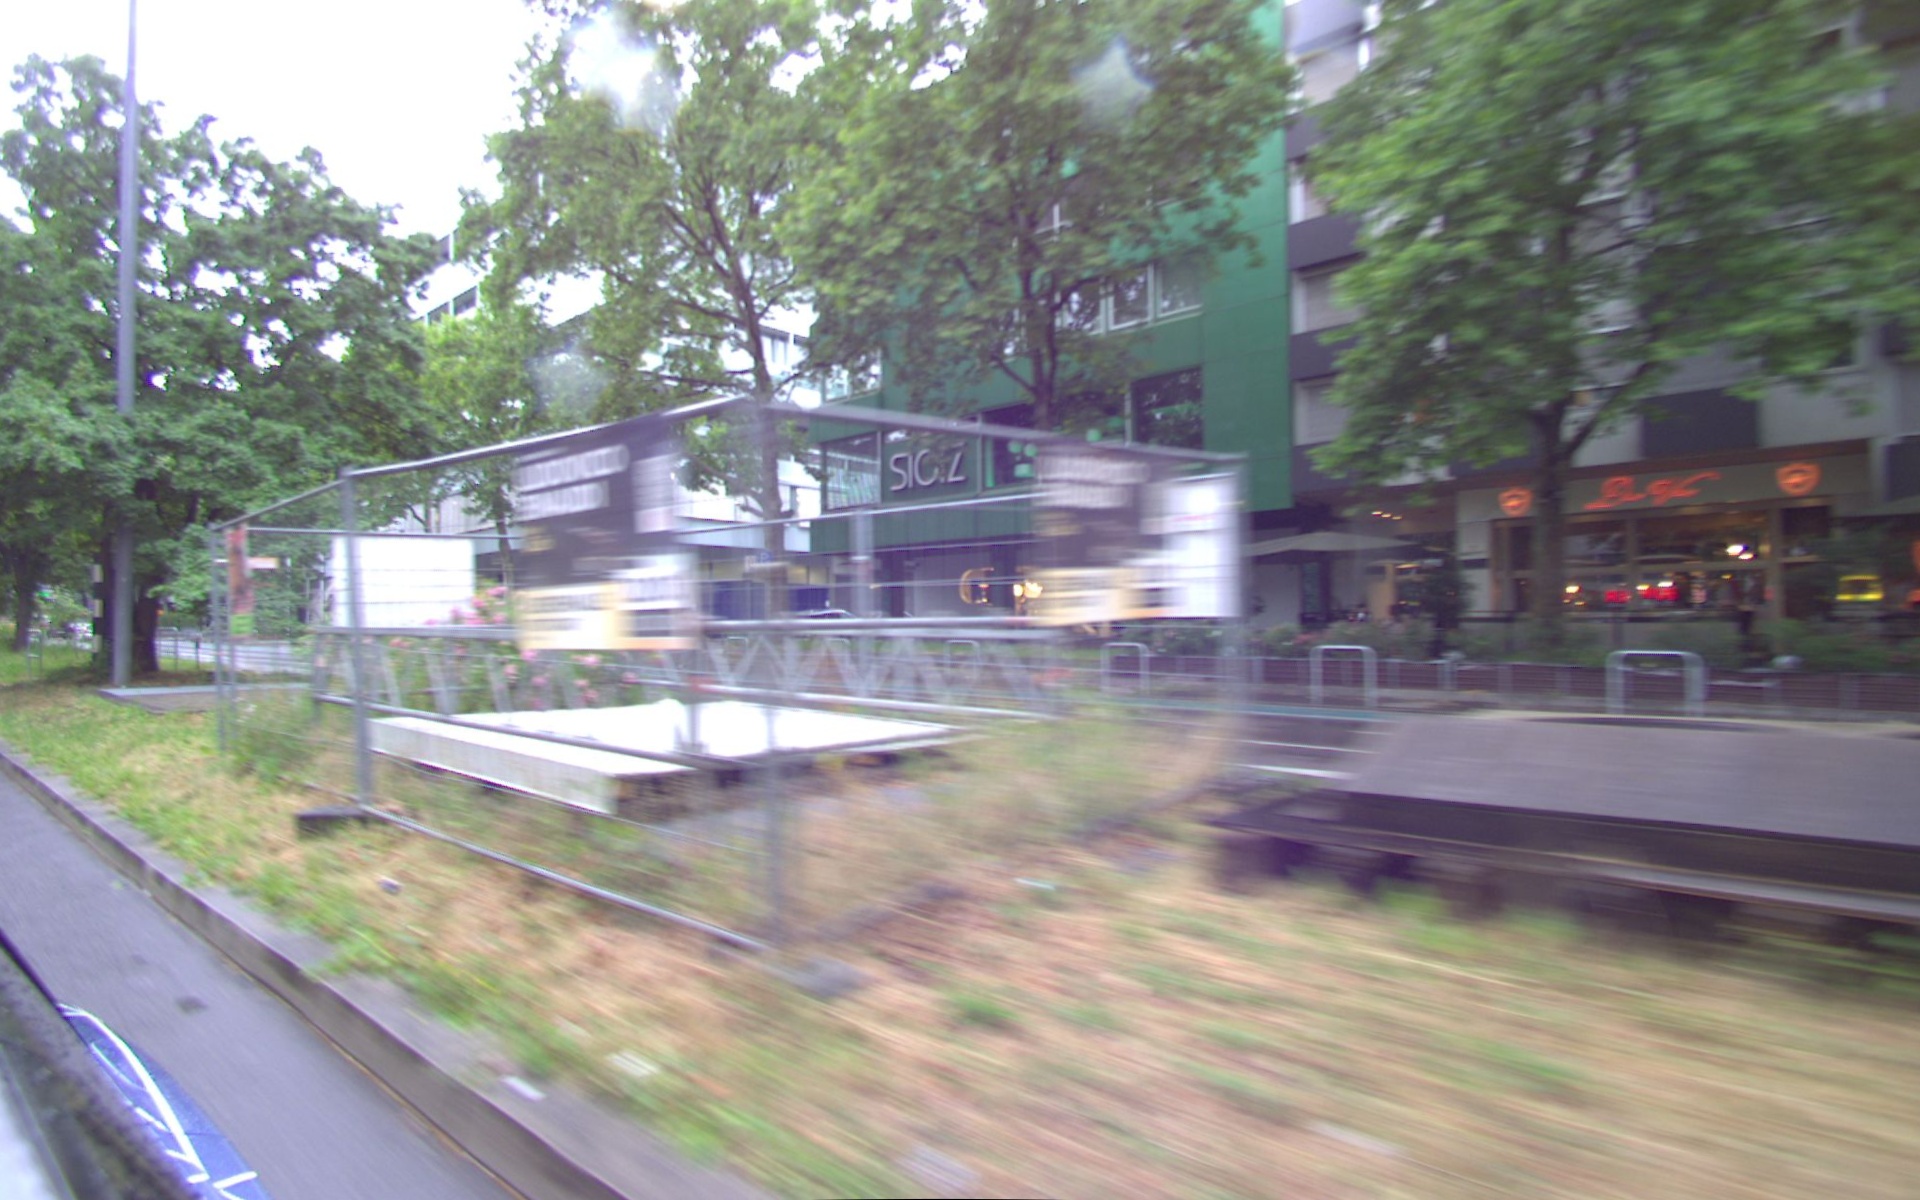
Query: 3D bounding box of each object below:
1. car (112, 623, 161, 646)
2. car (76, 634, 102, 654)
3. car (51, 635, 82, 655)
[{"bbox_3d":[-54.560,2.300,67.029,4.758,1.503,1.971,-2,-3,44],"label":"car"},{"bbox_3d":[-66.779,3.376,77.549,3.561,1.473,1.148,-2,-2,44],"label":"car"},{"bbox_3d":[-82.558,4.126,93.498,1.970,1.815,4.285,1,-2,-43],"label":"car"}]
